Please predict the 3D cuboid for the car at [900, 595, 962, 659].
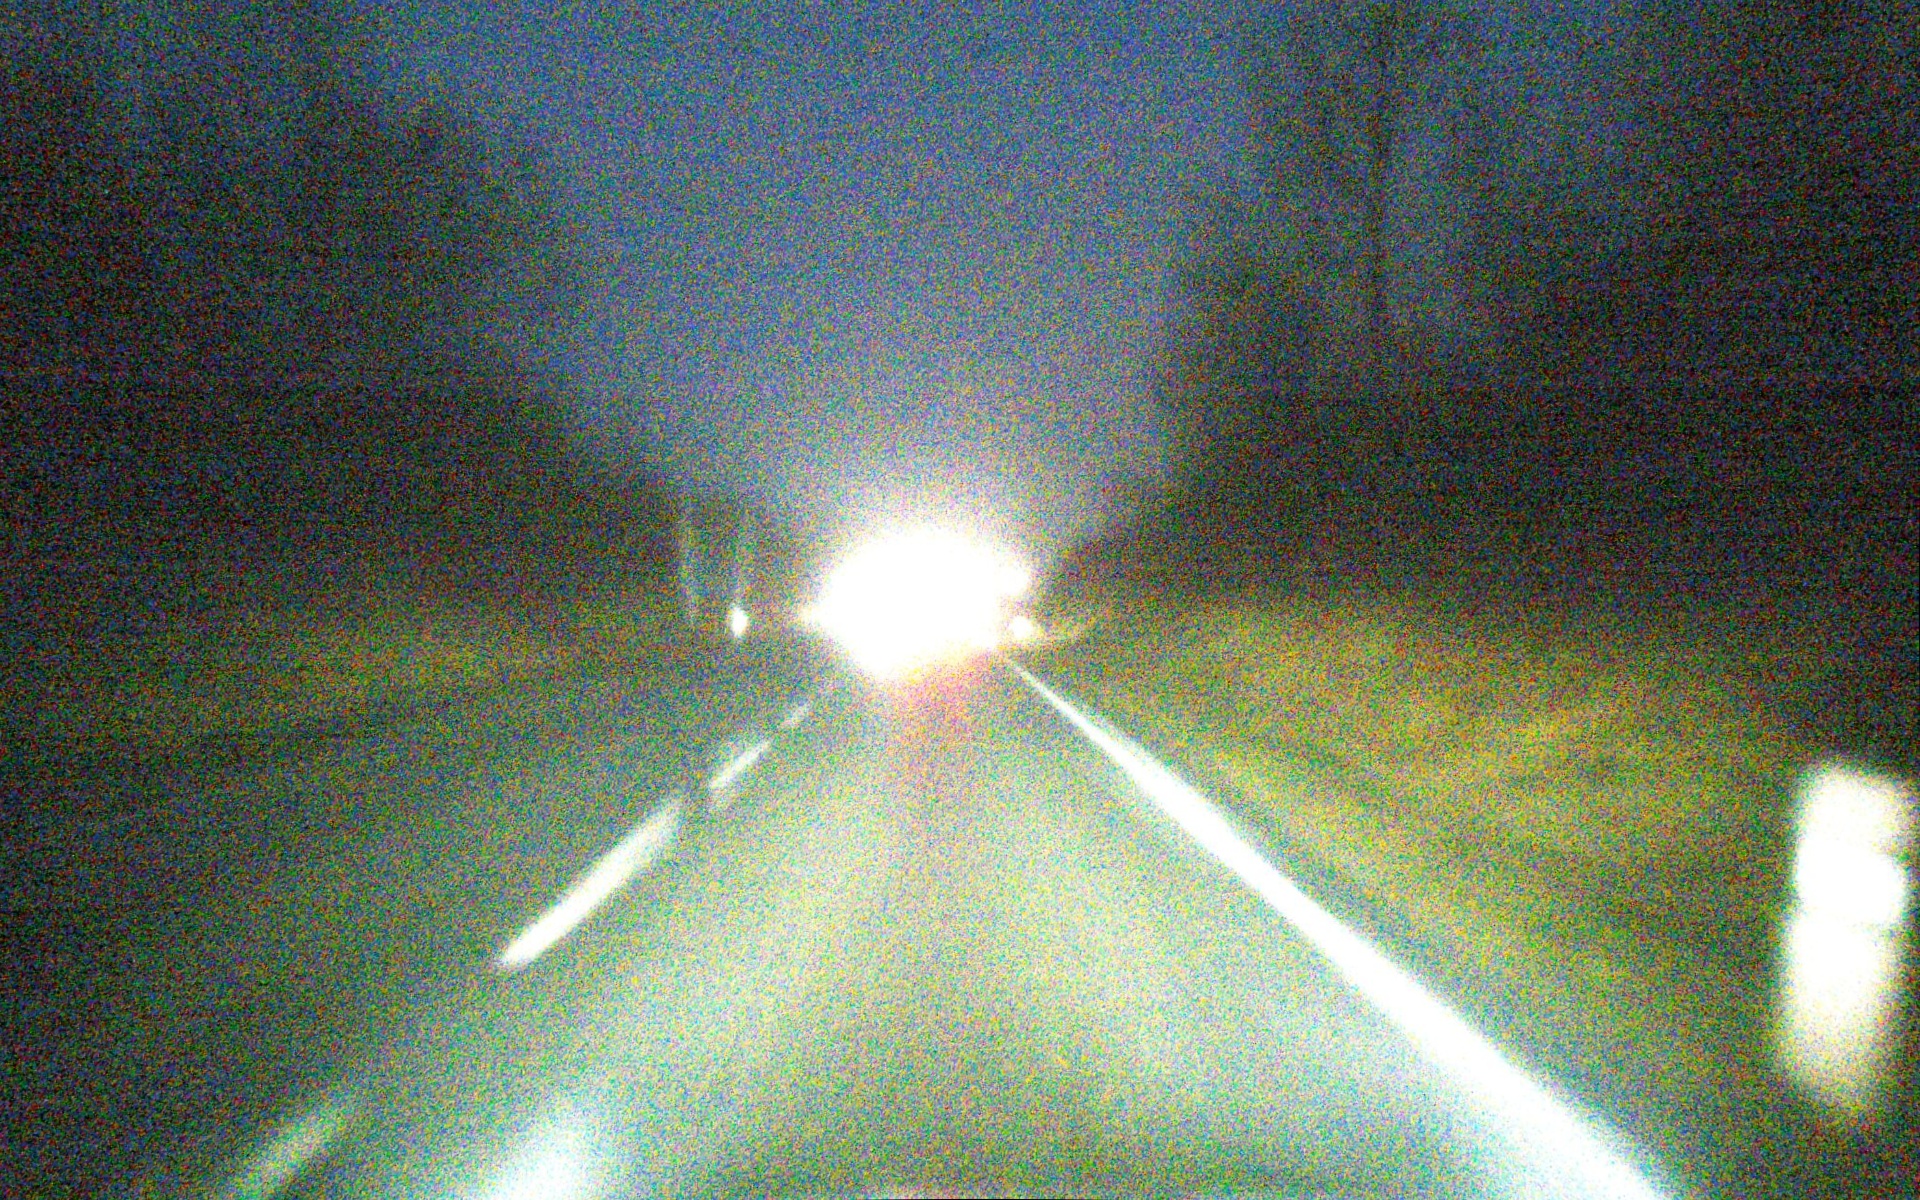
[{"bbox_3d":[-0.919,0.801,51.440,1.805,1.770,3.999,1,1,-2],"label":"car"}]
